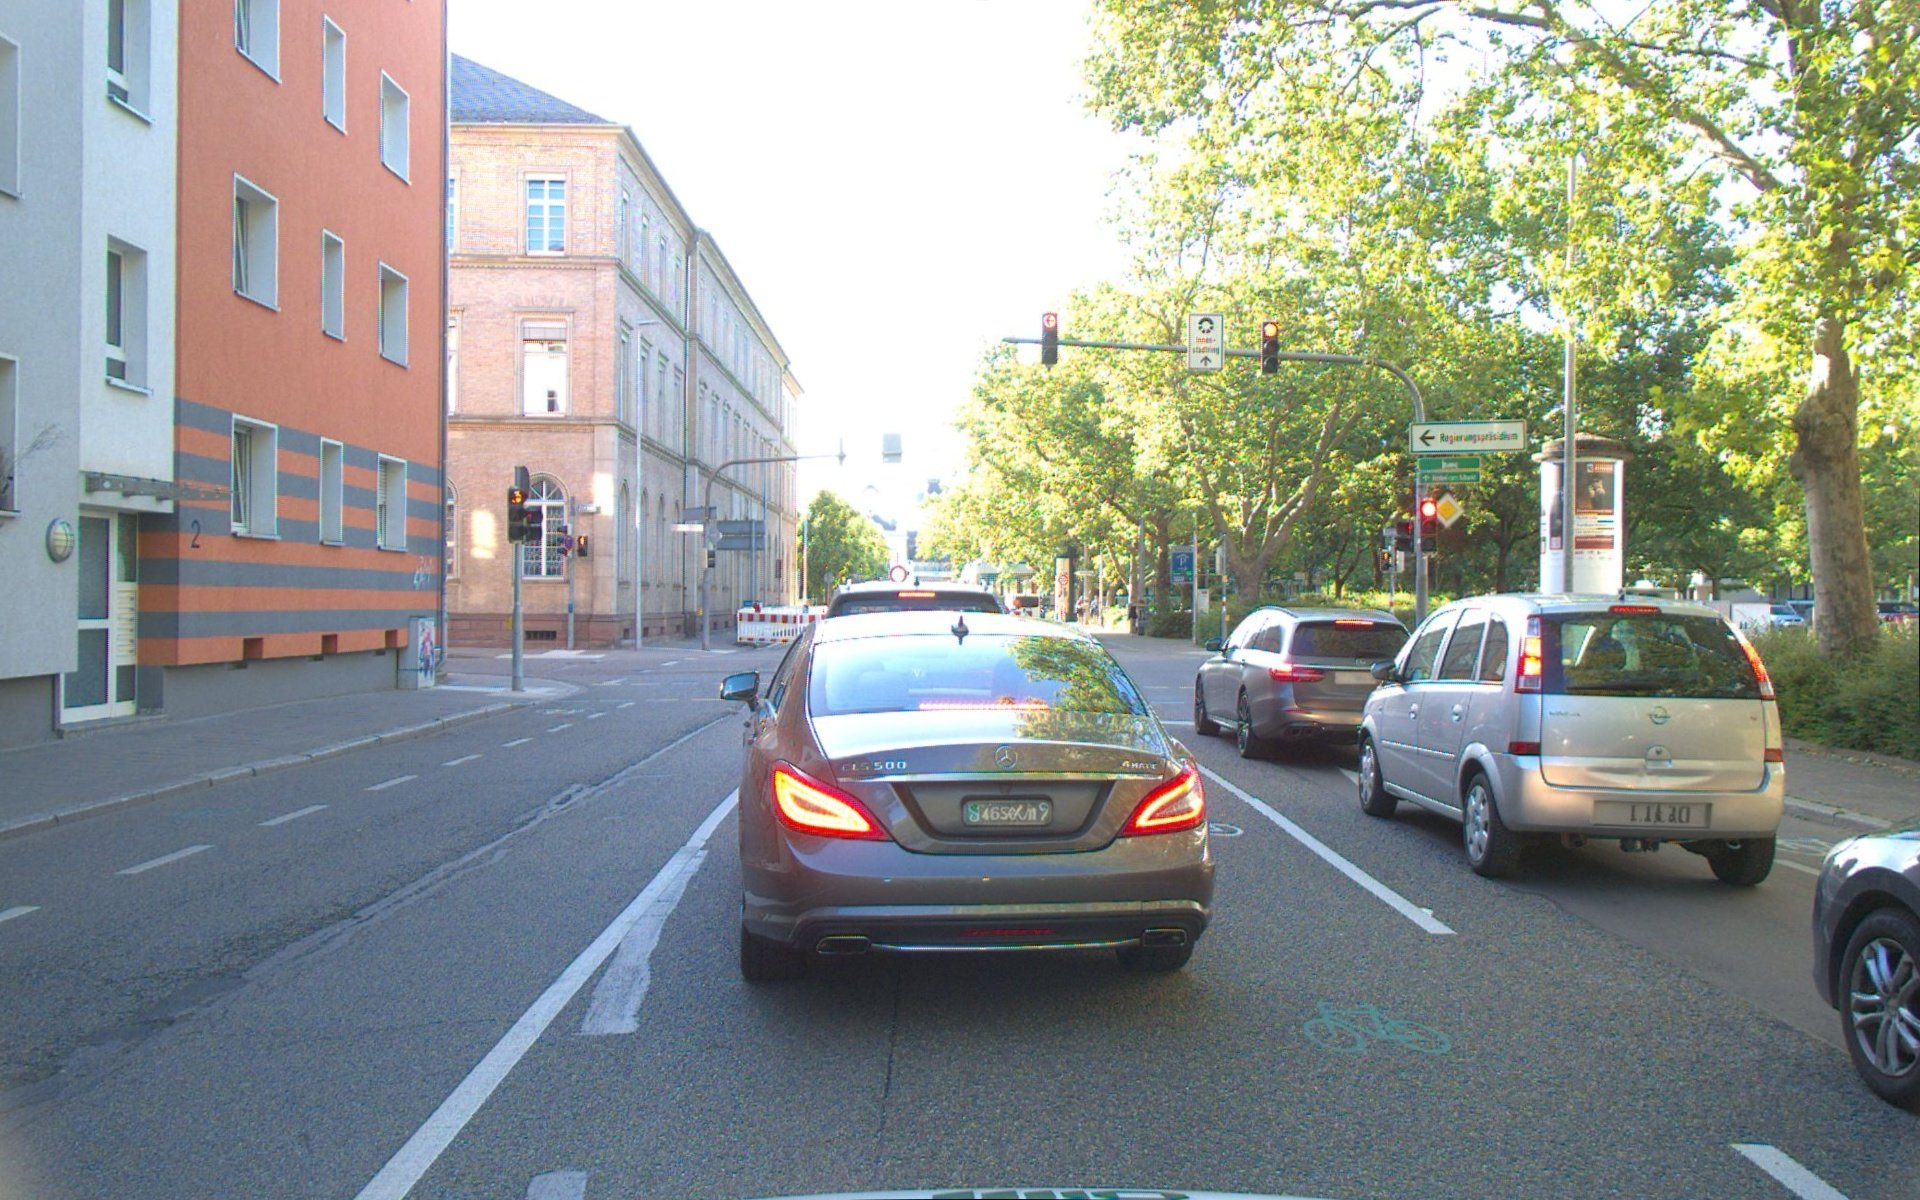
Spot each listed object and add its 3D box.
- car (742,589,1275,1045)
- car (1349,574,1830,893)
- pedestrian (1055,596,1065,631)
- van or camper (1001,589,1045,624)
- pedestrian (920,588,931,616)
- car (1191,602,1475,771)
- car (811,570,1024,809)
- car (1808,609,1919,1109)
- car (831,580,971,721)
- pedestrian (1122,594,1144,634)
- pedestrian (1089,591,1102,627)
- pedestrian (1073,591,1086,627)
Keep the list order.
[{"bbox_3d":[-0.102,0.705,7.652,1.769,1.482,4.343,1,0,-8],"label":"car"},{"bbox_3d":[3.803,0.704,10.729,1.666,1.631,3.860,2,0,1],"label":"car"},{"bbox_3d":[5.954,0.797,98.622,0.528,2.049,0.473,1,-1,-1],"label":"pedestrian"},{"bbox_3d":[3.606,0.354,95.524,1.955,1.975,4.589,1,0,-6],"label":"van or camper"},{"bbox_3d":[-2.493,0.149,120.393,0.710,2.049,0.748,1,0,-5],"label":"pedestrian"},{"bbox_3d":[3.755,0.797,17.514,1.874,1.490,4.668,1,0,-1],"label":"car"},{"bbox_3d":[-0.395,0.632,13.681,1.487,1.675,3.878,1,0,-3],"label":"car"},{"bbox_3d":[3.751,0.819,3.677,1.611,1.508,3.975,2,0,-1],"label":"car"},{"bbox_3d":[-0.782,0.645,23.226,1.783,1.793,3.999,0,0,-1],"label":"car"},{"bbox_3d":[7.102,0.583,68.043,0.813,1.634,0.651,1,0,-1],"label":"pedestrian"},{"bbox_3d":[7.054,0.467,86.112,0.591,1.853,0.651,1,0,-1],"label":"pedestrian"},{"bbox_3d":[6.209,0.481,86.206,0.591,1.853,0.651,1,0,-1],"label":"pedestrian"}]
